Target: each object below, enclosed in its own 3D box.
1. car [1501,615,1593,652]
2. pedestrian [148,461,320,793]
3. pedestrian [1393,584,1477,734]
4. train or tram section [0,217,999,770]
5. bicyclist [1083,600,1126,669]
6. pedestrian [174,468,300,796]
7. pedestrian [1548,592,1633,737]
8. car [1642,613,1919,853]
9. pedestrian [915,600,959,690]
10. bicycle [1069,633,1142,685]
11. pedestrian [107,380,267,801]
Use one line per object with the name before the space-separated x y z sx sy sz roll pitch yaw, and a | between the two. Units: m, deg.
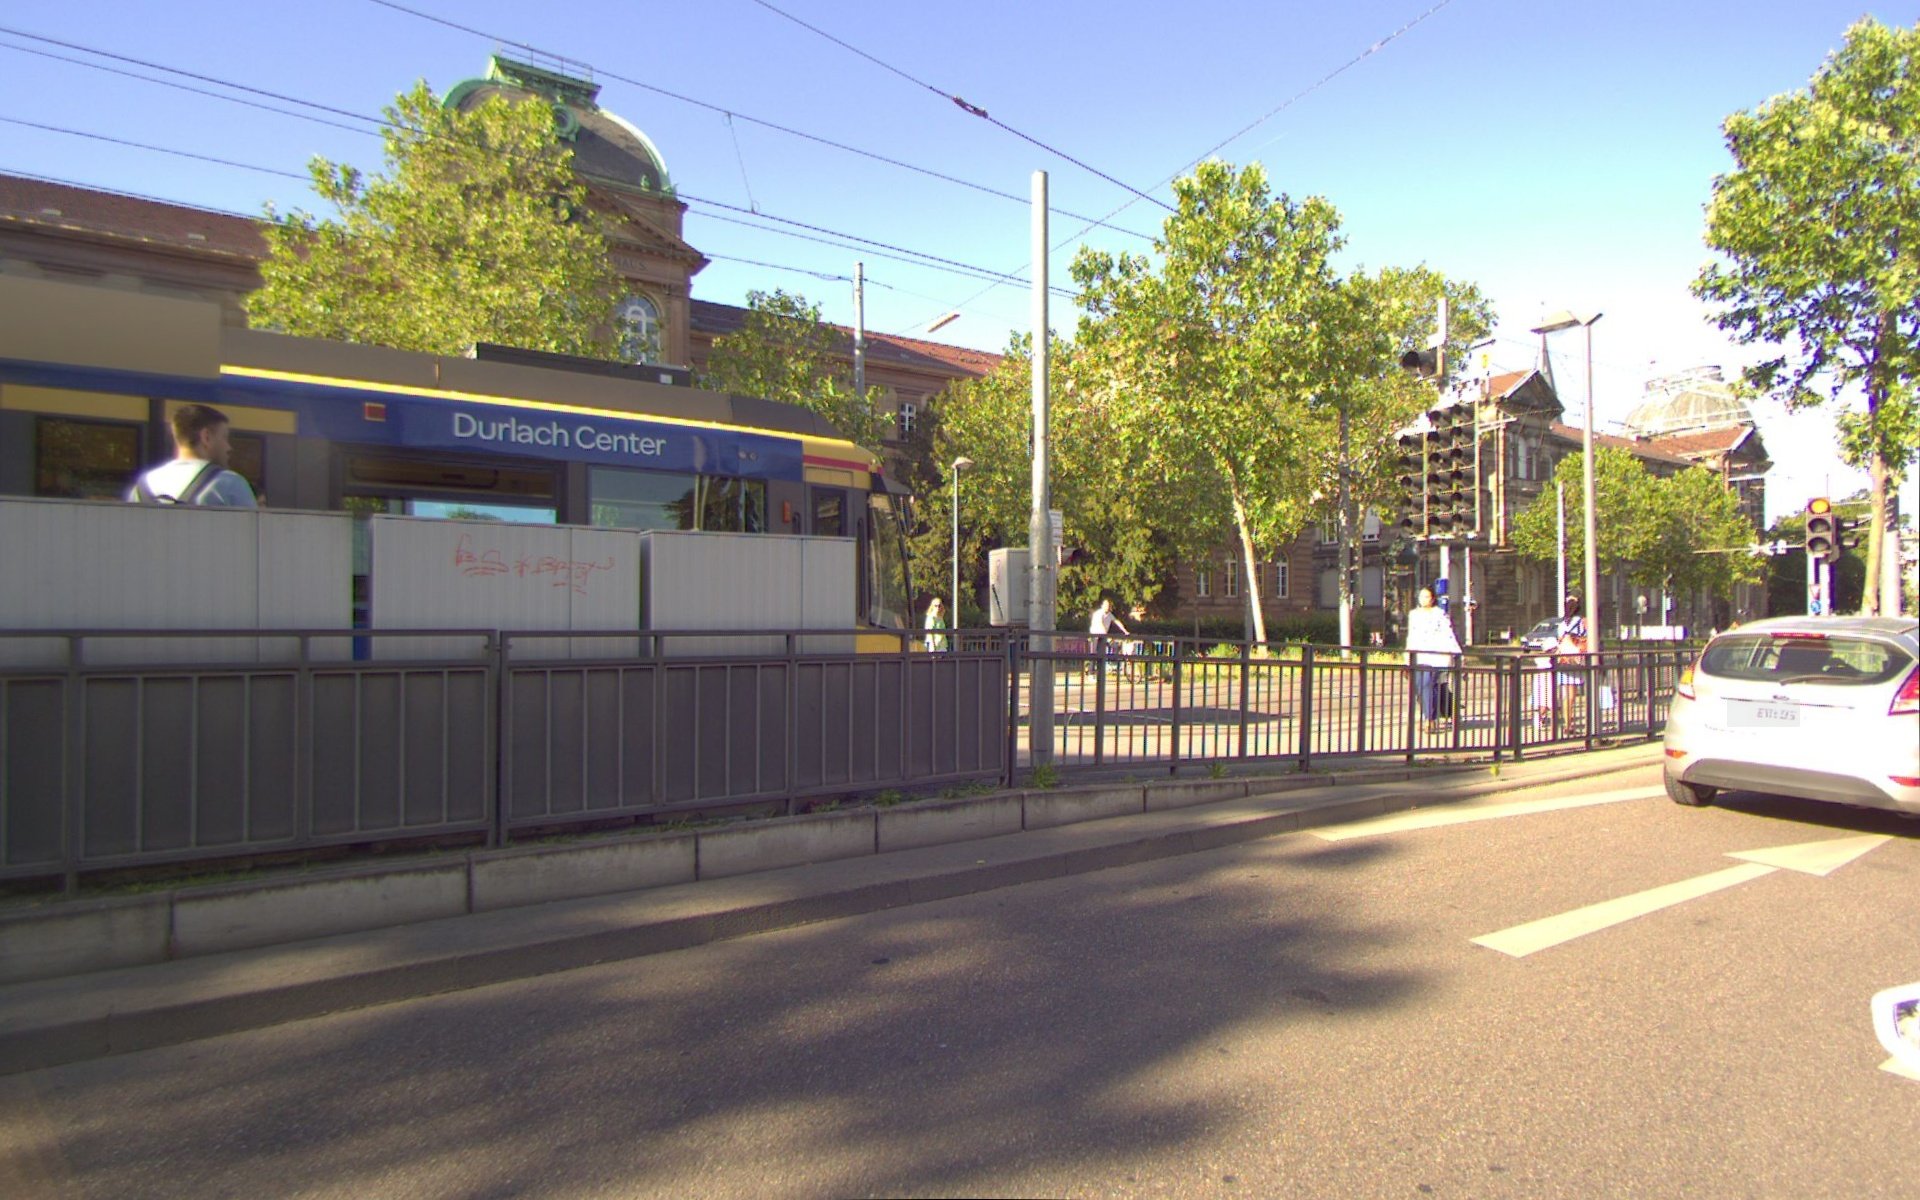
car | 26.856 1.506 45.939 3.953 1.646 1.984 1 -1 -30
pedestrian | -4.106 0.151 5.702 0.740 1.724 0.628 1 -2 -37
pedestrian | 5.421 0.673 11.474 0.635 1.640 0.635 4 -3 -37
train or tram section | -5.820 -0.623 7.690 12.976 3.303 2.897 2 0 -34
bicyclist | 3.025 0.726 21.074 0.643 1.404 0.562 2 0 -33
pedestrian | -4.102 0.177 5.705 0.541 1.724 0.604 1 -2 -37
pedestrian | 7.144 0.710 11.385 0.641 1.577 0.626 1 -1 -37
car | 6.946 0.846 7.611 3.592 1.428 1.651 1 0 -32
pedestrian | -0.418 0.815 18.381 0.634 1.623 0.529 1 -1 -30
bicycle | 3.037 1.213 21.036 0.644 0.976 1.553 2 0 -32
pedestrian | -3.496 -0.032 4.571 0.535 1.757 0.544 1 -2 -37
